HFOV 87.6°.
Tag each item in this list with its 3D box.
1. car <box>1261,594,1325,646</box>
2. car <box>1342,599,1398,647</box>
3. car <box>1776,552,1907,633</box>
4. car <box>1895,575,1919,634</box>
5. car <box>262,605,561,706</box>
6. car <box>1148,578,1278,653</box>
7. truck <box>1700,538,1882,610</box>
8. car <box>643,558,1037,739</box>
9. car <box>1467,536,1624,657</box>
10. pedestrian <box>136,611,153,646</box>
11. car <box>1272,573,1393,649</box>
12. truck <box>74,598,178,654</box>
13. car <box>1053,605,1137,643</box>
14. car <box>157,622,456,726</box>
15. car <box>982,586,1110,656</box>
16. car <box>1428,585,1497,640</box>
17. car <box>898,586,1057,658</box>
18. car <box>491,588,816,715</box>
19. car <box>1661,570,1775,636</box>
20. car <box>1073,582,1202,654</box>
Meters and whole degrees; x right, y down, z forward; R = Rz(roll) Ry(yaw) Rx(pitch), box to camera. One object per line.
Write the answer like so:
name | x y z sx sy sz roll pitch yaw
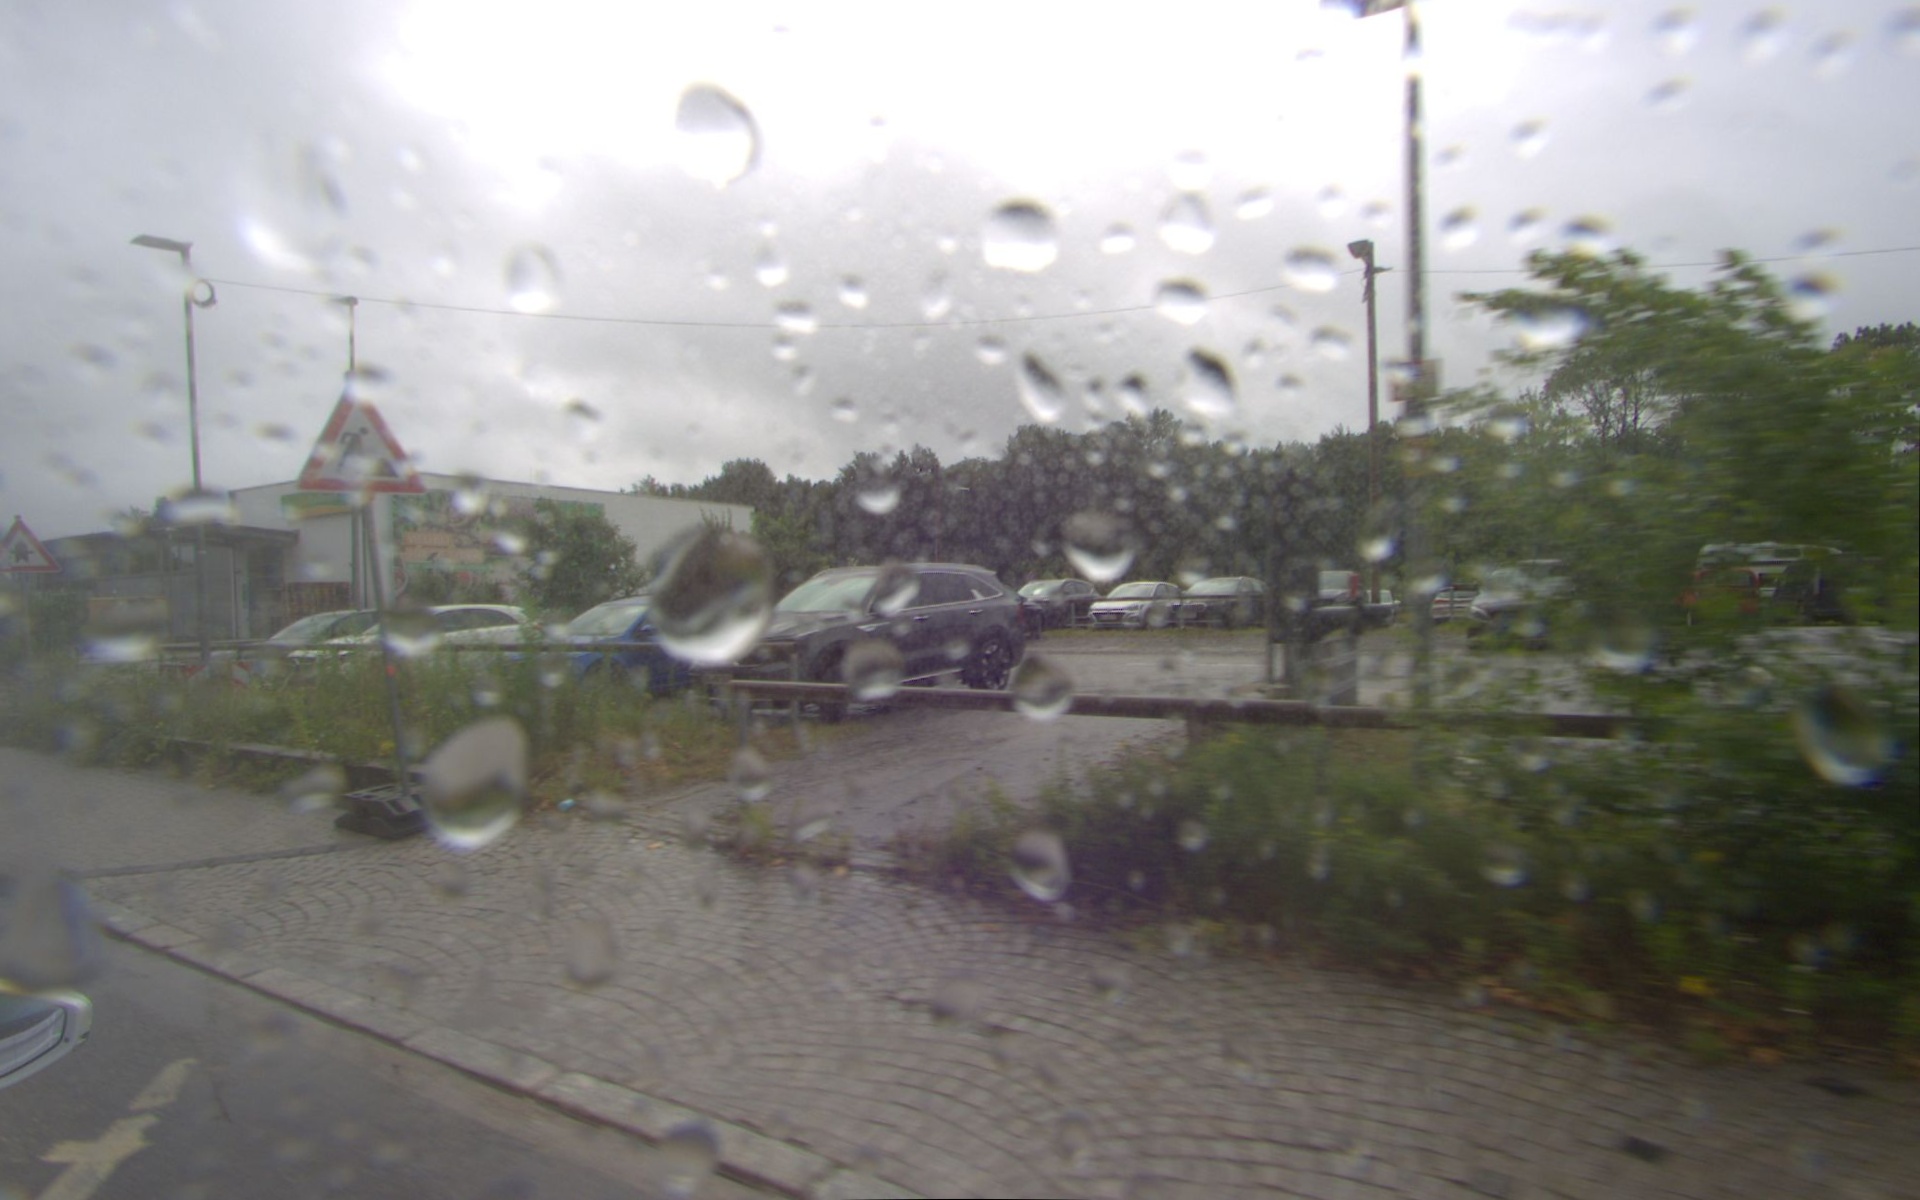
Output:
car | 12.210 0.707 36.579 1.866 1.750 3.988 -2 0 23
car | 14.281 0.762 34.791 1.685 1.513 3.988 -2 0 23
car | 24.462 -0.203 27.978 1.993 2.025 4.773 -2 0 32
car | 27.194 0.076 27.075 1.993 1.610 4.307 -2 0 32
car | -9.366 0.909 17.433 1.865 1.528 4.172 -4 -2 33
car | 6.743 0.366 26.320 2.015 1.626 4.430 -4 1 32
truck | 31.285 -0.924 37.934 5.012 2.434 2.067 -2 0 33
car | -1.227 0.479 12.262 2.102 1.757 4.663 -4 -1 37
car | 10.004 0.004 17.450 1.988 1.738 4.618 -3 -2 27
pedestrian | -40.151 1.405 49.299 0.427 1.741 0.453 -1 2 35
car | 9.597 0.231 25.597 2.015 1.626 4.430 -4 1 32
truck | -43.175 1.364 51.745 7.319 2.695 2.293 -2 1 36
car | 5.512 0.924 40.507 1.864 1.415 3.978 -1 0 32
car | -11.804 1.288 18.454 1.860 1.419 4.215 -3 1 24
car | 2.635 0.569 29.536 2.014 1.694 4.433 -4 1 30
car | 16.706 0.390 33.440 1.761 1.658 3.988 -2 0 23
car | 0.502 0.524 24.056 1.973 1.504 3.978 -4 -2 33
car | -4.187 0.687 14.349 1.795 1.536 4.286 -4 -2 33
car | 22.522 0.087 29.905 1.761 1.792 3.988 -2 0 23
car | 5.074 0.456 28.183 2.015 1.694 4.430 -4 1 32
